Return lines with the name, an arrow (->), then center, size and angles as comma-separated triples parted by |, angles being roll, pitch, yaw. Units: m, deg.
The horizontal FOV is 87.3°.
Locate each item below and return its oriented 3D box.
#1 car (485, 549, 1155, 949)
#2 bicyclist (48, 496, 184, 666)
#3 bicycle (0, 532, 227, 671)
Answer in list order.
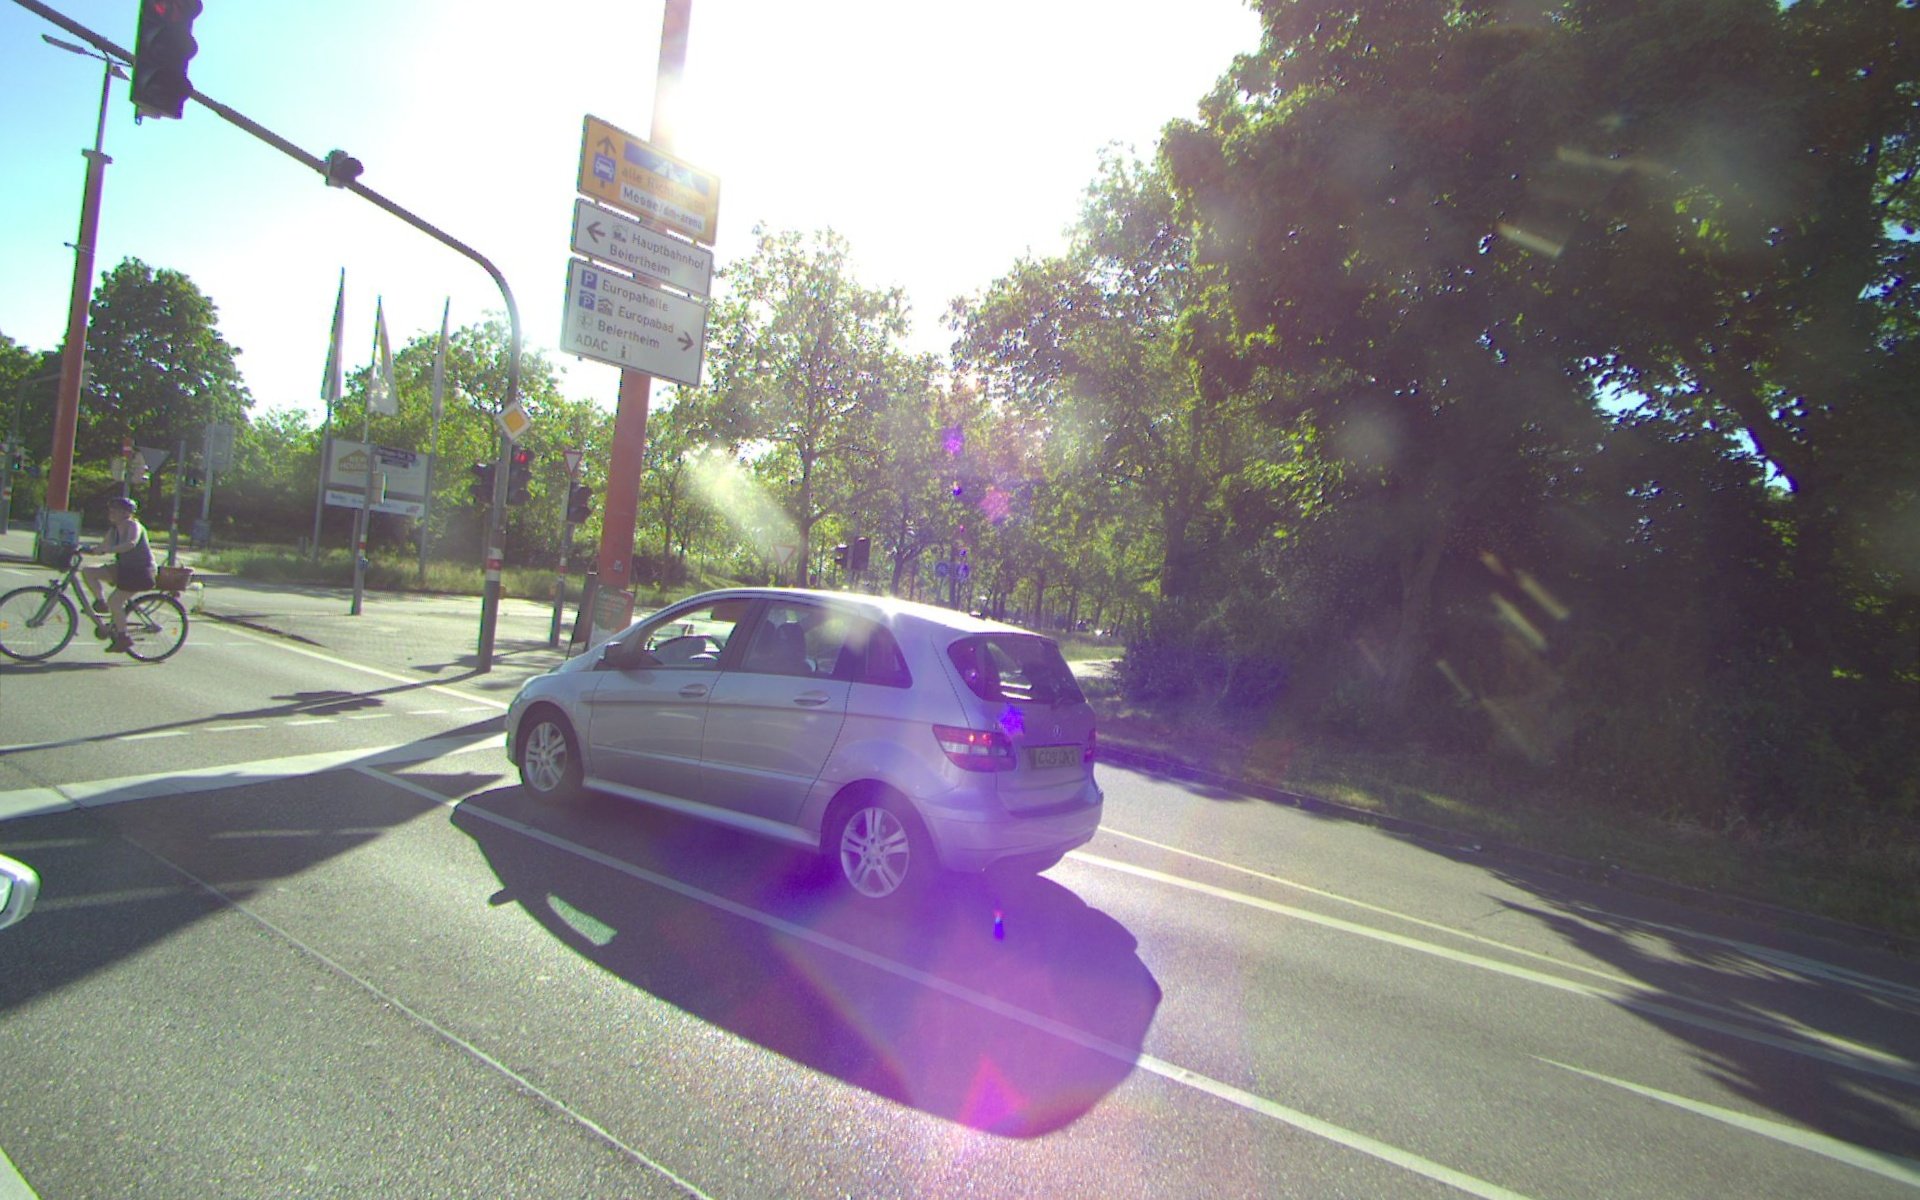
car -> -1.017, 0.708, 6.478 | 3.963, 1.597, 1.741 | 7, 0, 33
bicyclist -> -8.574, -0.177, 10.247 | 0.660, 1.604, 0.662 | 7, 0, 5
bicycle -> -8.600, 0.030, 10.210 | 0.679, 1.209, 1.949 | 7, 0, 4
